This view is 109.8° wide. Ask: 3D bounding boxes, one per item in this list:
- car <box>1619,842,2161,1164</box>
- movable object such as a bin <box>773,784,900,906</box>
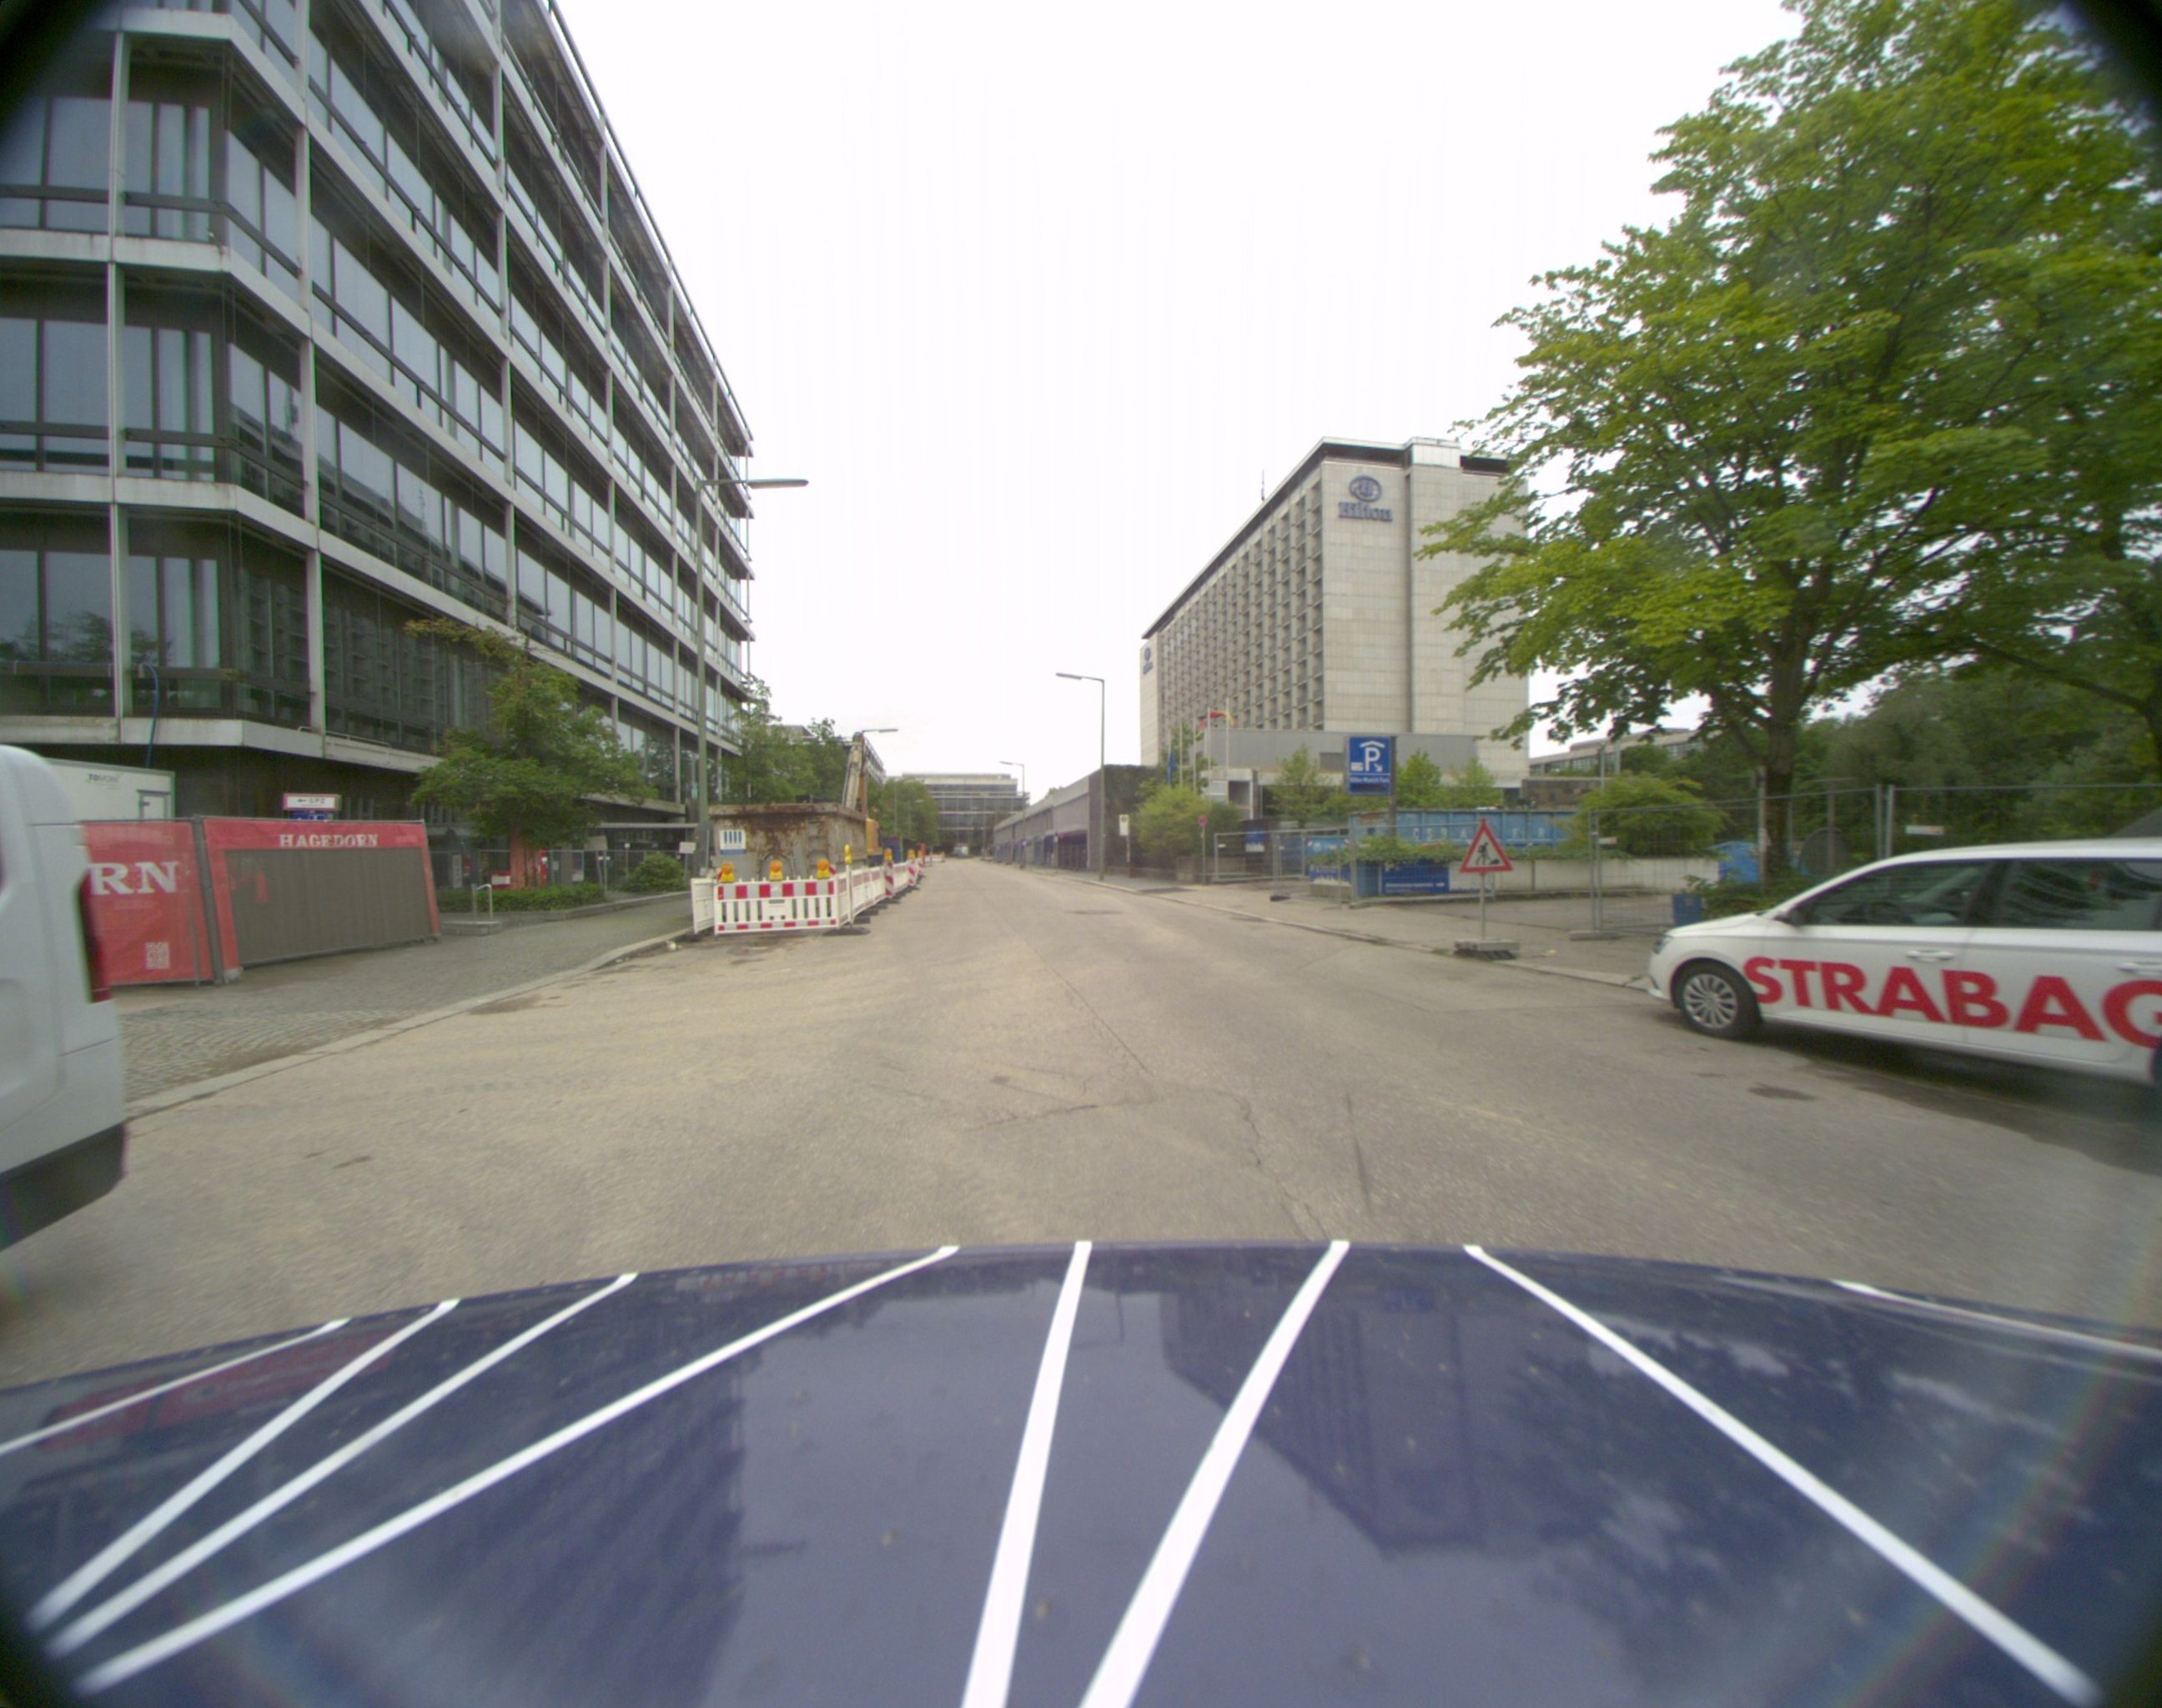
[{"bbox_3d":[5.954,0.715,4.658,1.782,1.541,4.252,-1,1,-12],"label":"car"},{"bbox_3d":[-8.553,-0.383,27.829,3.252,3.696,8.997,-1,1,-11],"label":"movable object such as a bin"}]
